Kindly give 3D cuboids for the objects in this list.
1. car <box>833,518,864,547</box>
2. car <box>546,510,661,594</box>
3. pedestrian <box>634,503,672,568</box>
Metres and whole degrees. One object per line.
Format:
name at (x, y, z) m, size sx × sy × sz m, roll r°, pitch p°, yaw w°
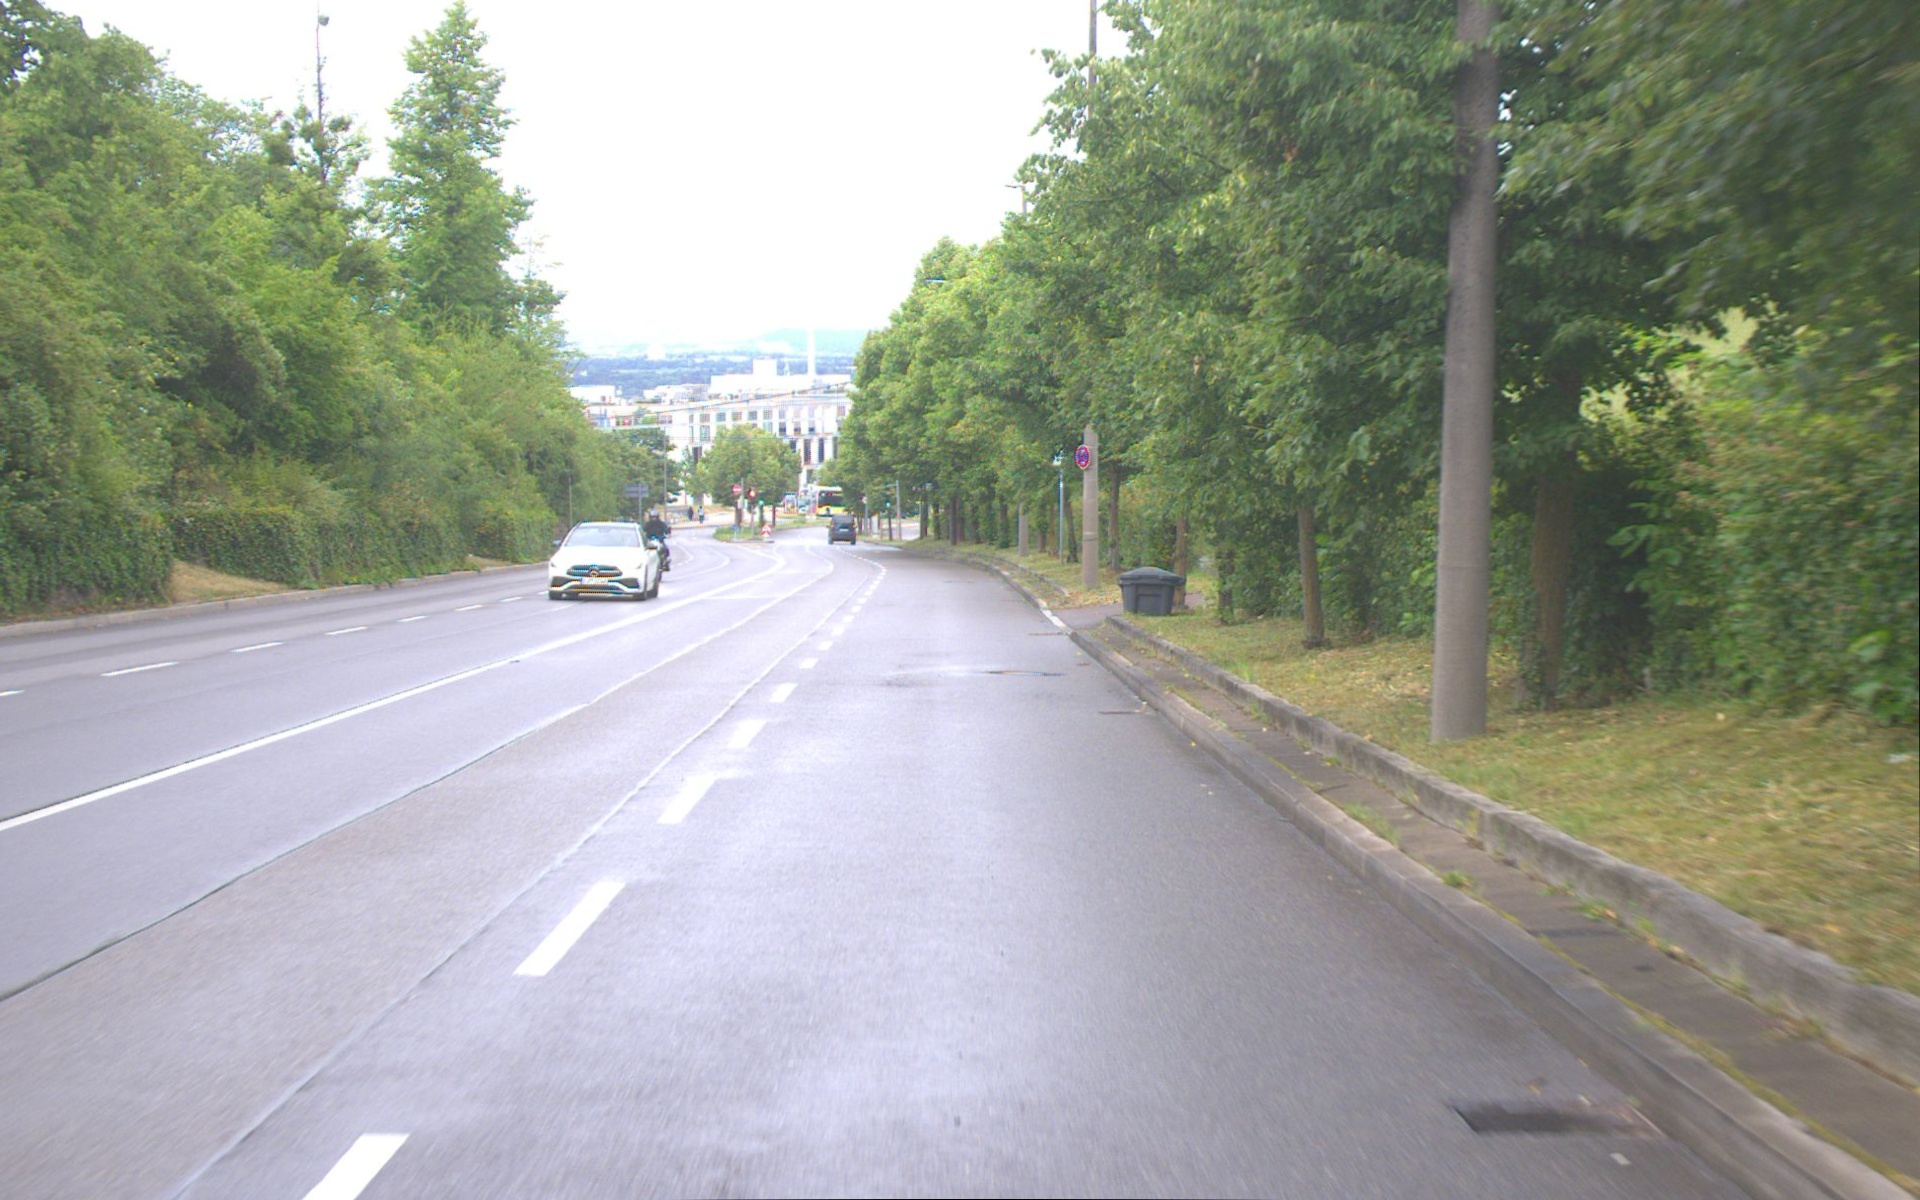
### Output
car at (-7.038, -4.261, 216.913) m, size 1.849 × 1.696 × 3.793 m, roll 2°, pitch 0°, yaw -3°
car at (-6.799, -0.935, 65.904) m, size 1.715 × 1.500 × 4.517 m, roll 2°, pitch 1°, yaw 0°
pedestrian at (-7.422, -1.559, 83.164) m, size 0.805 × 1.536 × 1.111 m, roll 1°, pitch 1°, yaw 0°
